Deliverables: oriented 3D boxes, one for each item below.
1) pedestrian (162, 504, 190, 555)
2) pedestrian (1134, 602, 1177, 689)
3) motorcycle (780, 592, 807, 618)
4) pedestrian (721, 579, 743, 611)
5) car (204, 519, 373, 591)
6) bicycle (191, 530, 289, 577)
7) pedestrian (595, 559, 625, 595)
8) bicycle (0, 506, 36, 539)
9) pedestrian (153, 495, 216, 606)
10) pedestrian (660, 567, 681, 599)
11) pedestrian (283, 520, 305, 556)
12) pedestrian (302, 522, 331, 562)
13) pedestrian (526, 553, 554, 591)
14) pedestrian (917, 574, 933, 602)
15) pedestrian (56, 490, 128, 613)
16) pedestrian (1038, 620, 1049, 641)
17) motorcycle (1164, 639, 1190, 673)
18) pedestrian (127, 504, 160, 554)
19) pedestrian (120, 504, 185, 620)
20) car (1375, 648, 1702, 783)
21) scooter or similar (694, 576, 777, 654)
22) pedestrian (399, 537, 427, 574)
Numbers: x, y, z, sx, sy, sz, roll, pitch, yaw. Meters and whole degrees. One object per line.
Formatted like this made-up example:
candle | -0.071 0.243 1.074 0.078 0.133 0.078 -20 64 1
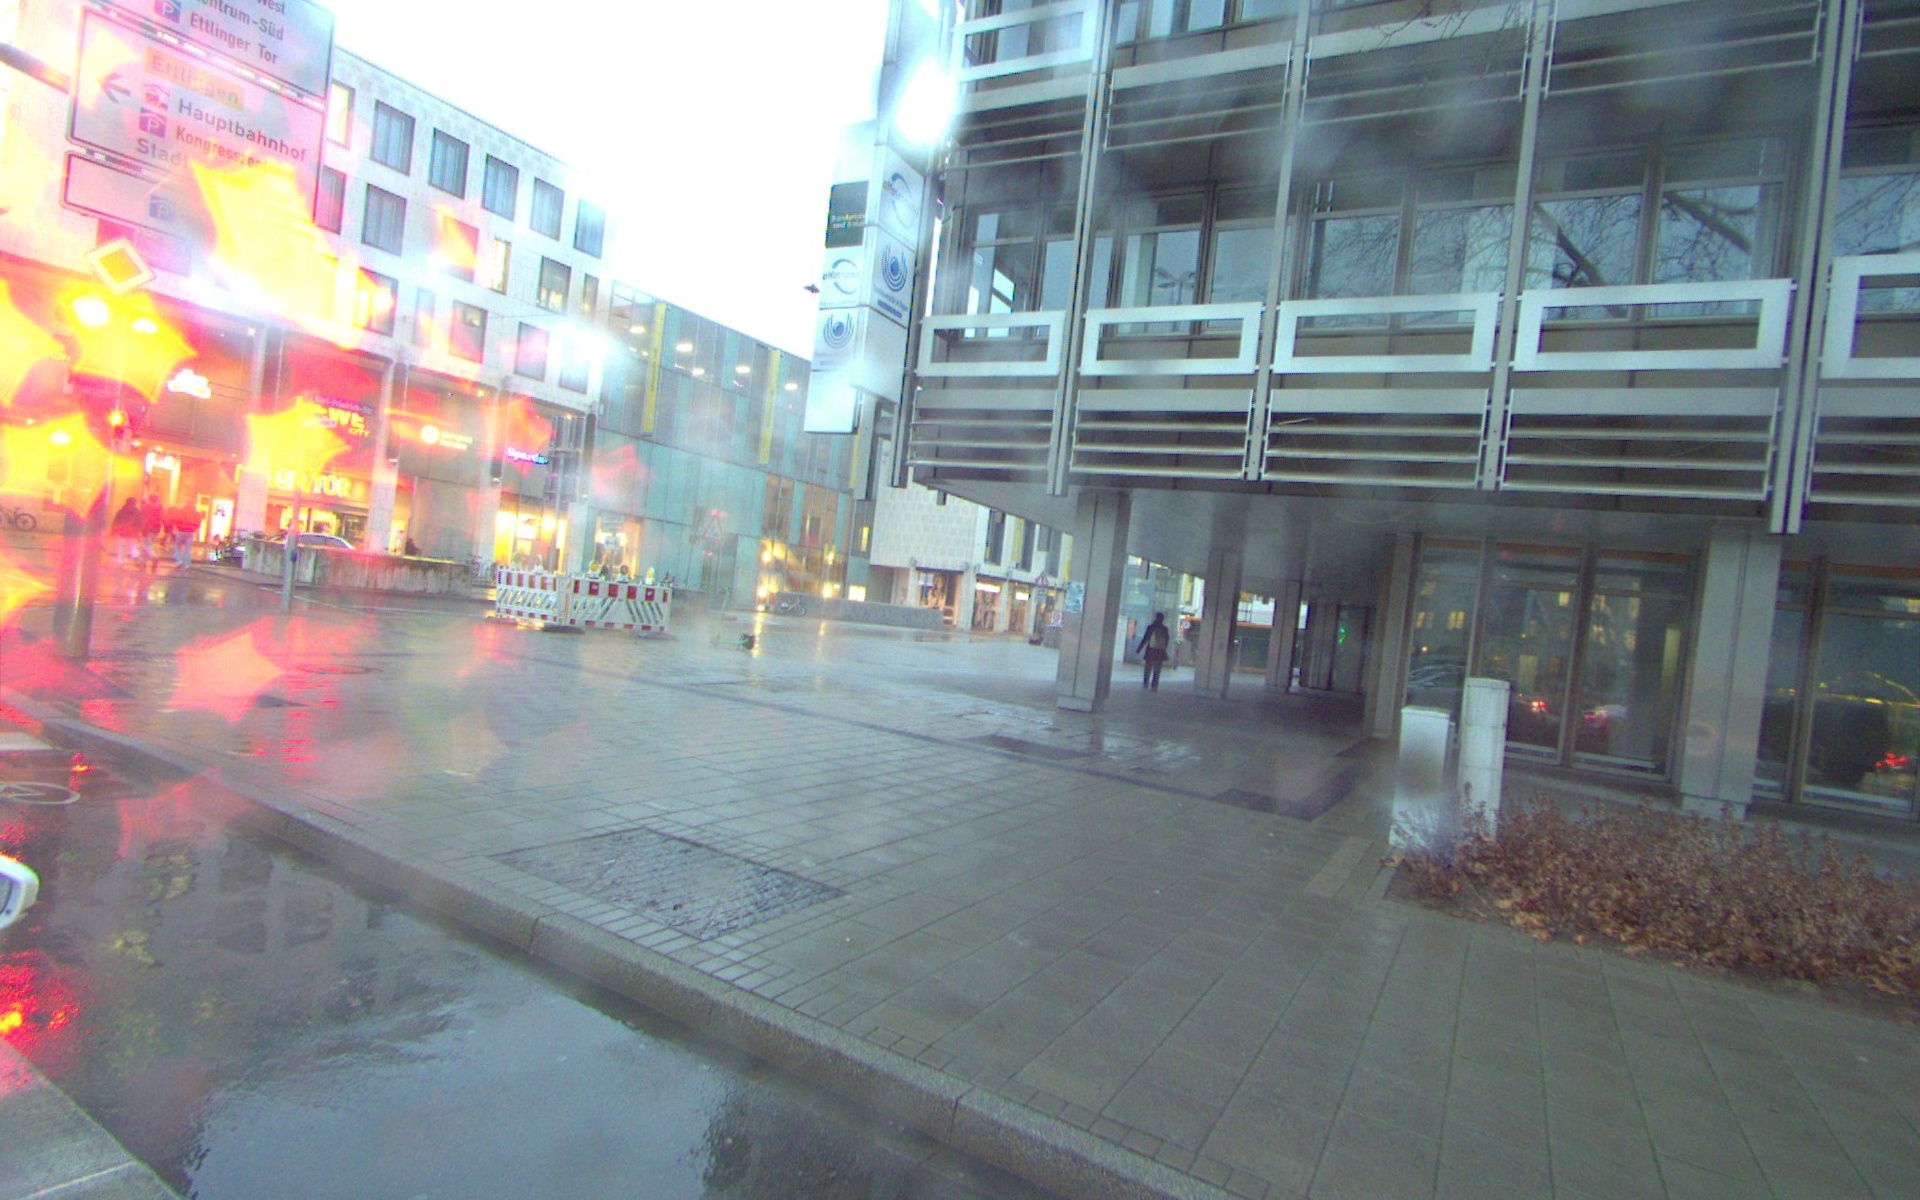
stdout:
pedestrian | -33.066 -2.961 42.426 0.788 2.039 0.586 6 1 -39
pedestrian | 4.275 1.006 21.947 0.678 1.796 0.660 7 -1 16
motorcycle | -10.121 0.297 61.218 0.585 1.368 1.491 7 -1 36
pedestrian | -13.125 -0.290 57.838 0.770 1.703 0.742 6 -1 38
car | -21.715 -1.420 32.672 1.968 1.636 3.994 6 -2 33
bicycle | -26.343 -1.686 36.882 0.941 1.375 2.718 6 -1 28
pedestrian | -18.204 -1.174 52.324 0.810 1.703 1.032 6 -1 31
bicycle | -36.516 -3.005 38.423 0.515 1.082 1.651 7 -2 28
pedestrian | -18.164 -1.159 23.559 0.778 2.477 0.694 7 -1 32
pedestrian | -17.152 -1.001 59.580 0.786 1.760 0.767 6 1 -43
pedestrian | -34.210 -3.194 51.674 0.729 1.740 0.733 6 1 -31
pedestrian | -29.955 -2.690 46.840 0.770 1.703 0.742 6 -1 38
pedestrian | -19.854 -1.321 47.575 0.770 1.703 0.742 6 -1 38
pedestrian | -2.232 -0.779 64.098 0.573 1.703 0.542 6 -1 38
pedestrian | -18.375 -1.027 21.304 0.745 2.469 0.716 7 -1 31
pedestrian | 7.064 2.558 84.945 0.573 1.703 0.542 6 -1 38
motorcycle | 9.546 2.475 44.256 0.584 1.368 1.493 7 -1 29
pedestrian | -35.616 -3.103 43.883 0.688 2.039 0.845 7 1 40
pedestrian | -18.118 -0.854 22.572 0.745 2.469 0.691 7 -1 31
car | 8.621 1.642 15.219 3.935 1.327 1.994 6 1 33
scooter or similar | -4.525 0.292 20.255 1.470 1.368 0.593 7 -1 32
pedestrian | -26.518 -2.159 48.774 0.519 1.705 0.894 6 0 31
